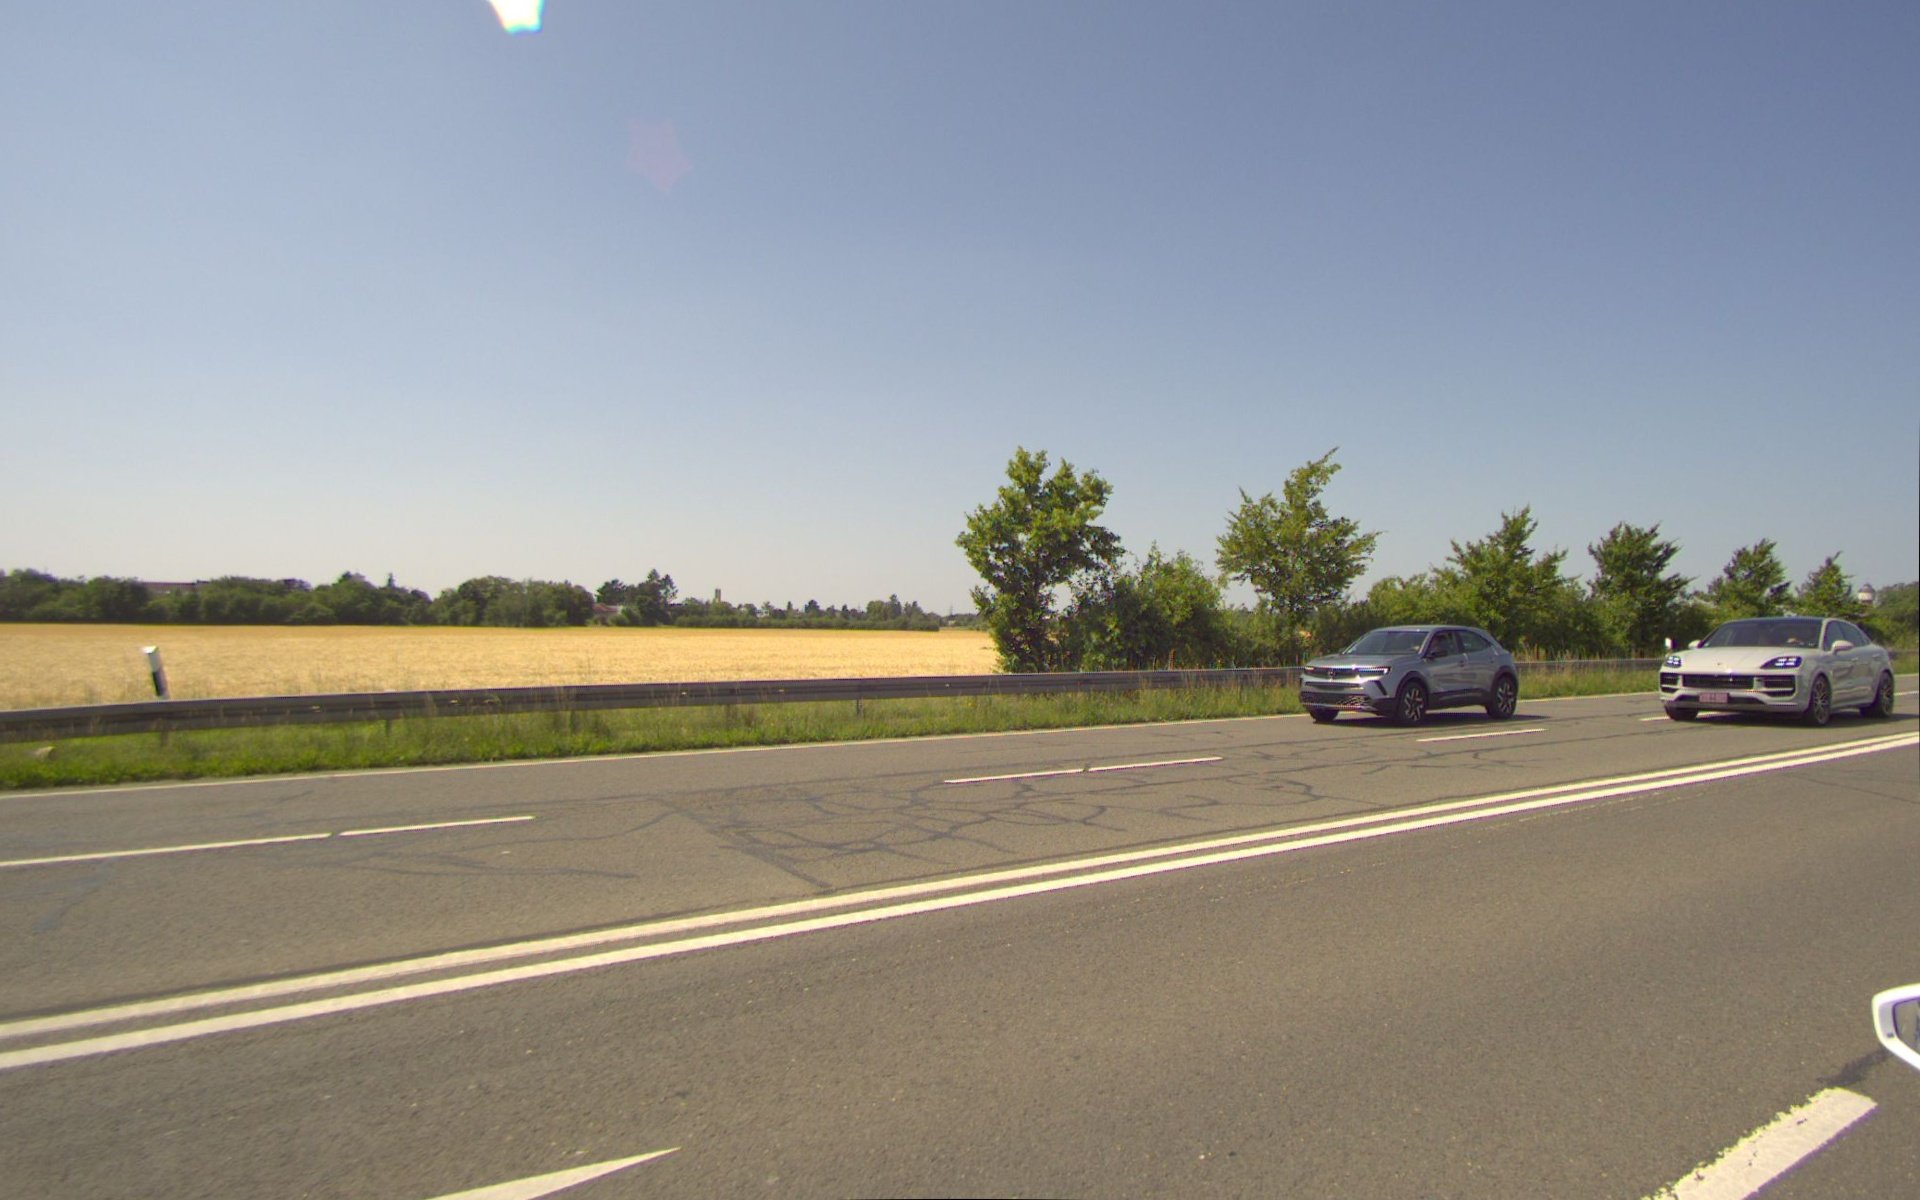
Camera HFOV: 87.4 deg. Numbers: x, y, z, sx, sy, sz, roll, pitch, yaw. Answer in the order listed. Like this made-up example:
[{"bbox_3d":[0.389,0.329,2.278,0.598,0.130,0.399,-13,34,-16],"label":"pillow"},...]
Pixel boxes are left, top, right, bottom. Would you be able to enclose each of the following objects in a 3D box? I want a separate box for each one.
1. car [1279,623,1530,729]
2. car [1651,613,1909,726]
[{"bbox_3d":[7.300,1.173,16.408,4.082,1.528,1.809,1,-3,-33],"label":"car"},{"bbox_3d":[13.438,1.070,16.384,4.822,1.608,1.830,1,-2,-32],"label":"car"}]
